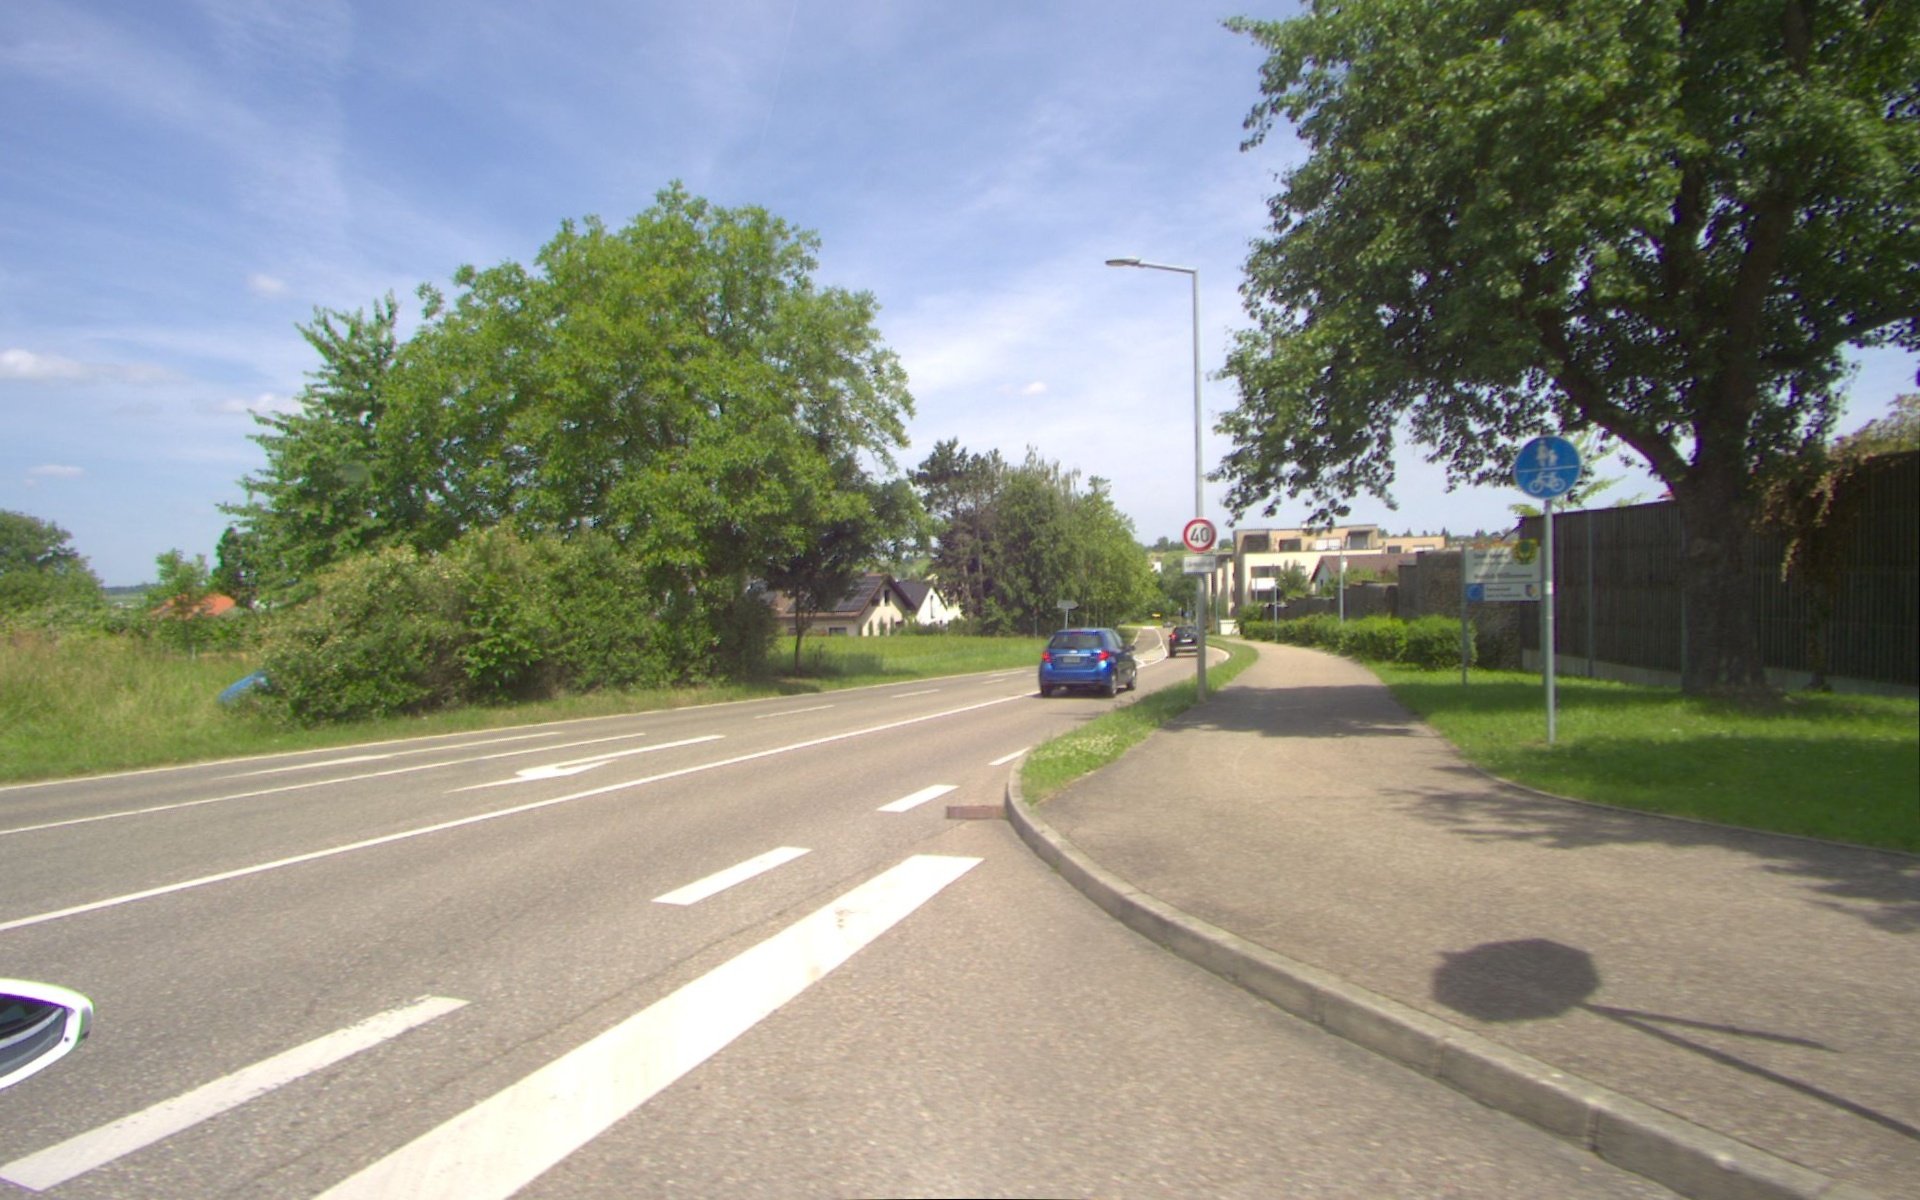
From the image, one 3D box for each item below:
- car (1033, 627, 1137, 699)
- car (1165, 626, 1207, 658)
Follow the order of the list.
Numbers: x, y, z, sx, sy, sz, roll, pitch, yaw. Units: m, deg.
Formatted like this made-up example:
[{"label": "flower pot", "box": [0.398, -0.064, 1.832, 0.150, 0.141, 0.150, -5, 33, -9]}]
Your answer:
[{"label": "car", "box": [2.946, 1.381, 22.966, 1.585, 1.511, 3.842, -1, -2, 19]}, {"label": "car", "box": [11.802, 2.170, 52.087, 1.797, 1.601, 3.995, -1, -2, 17]}]
